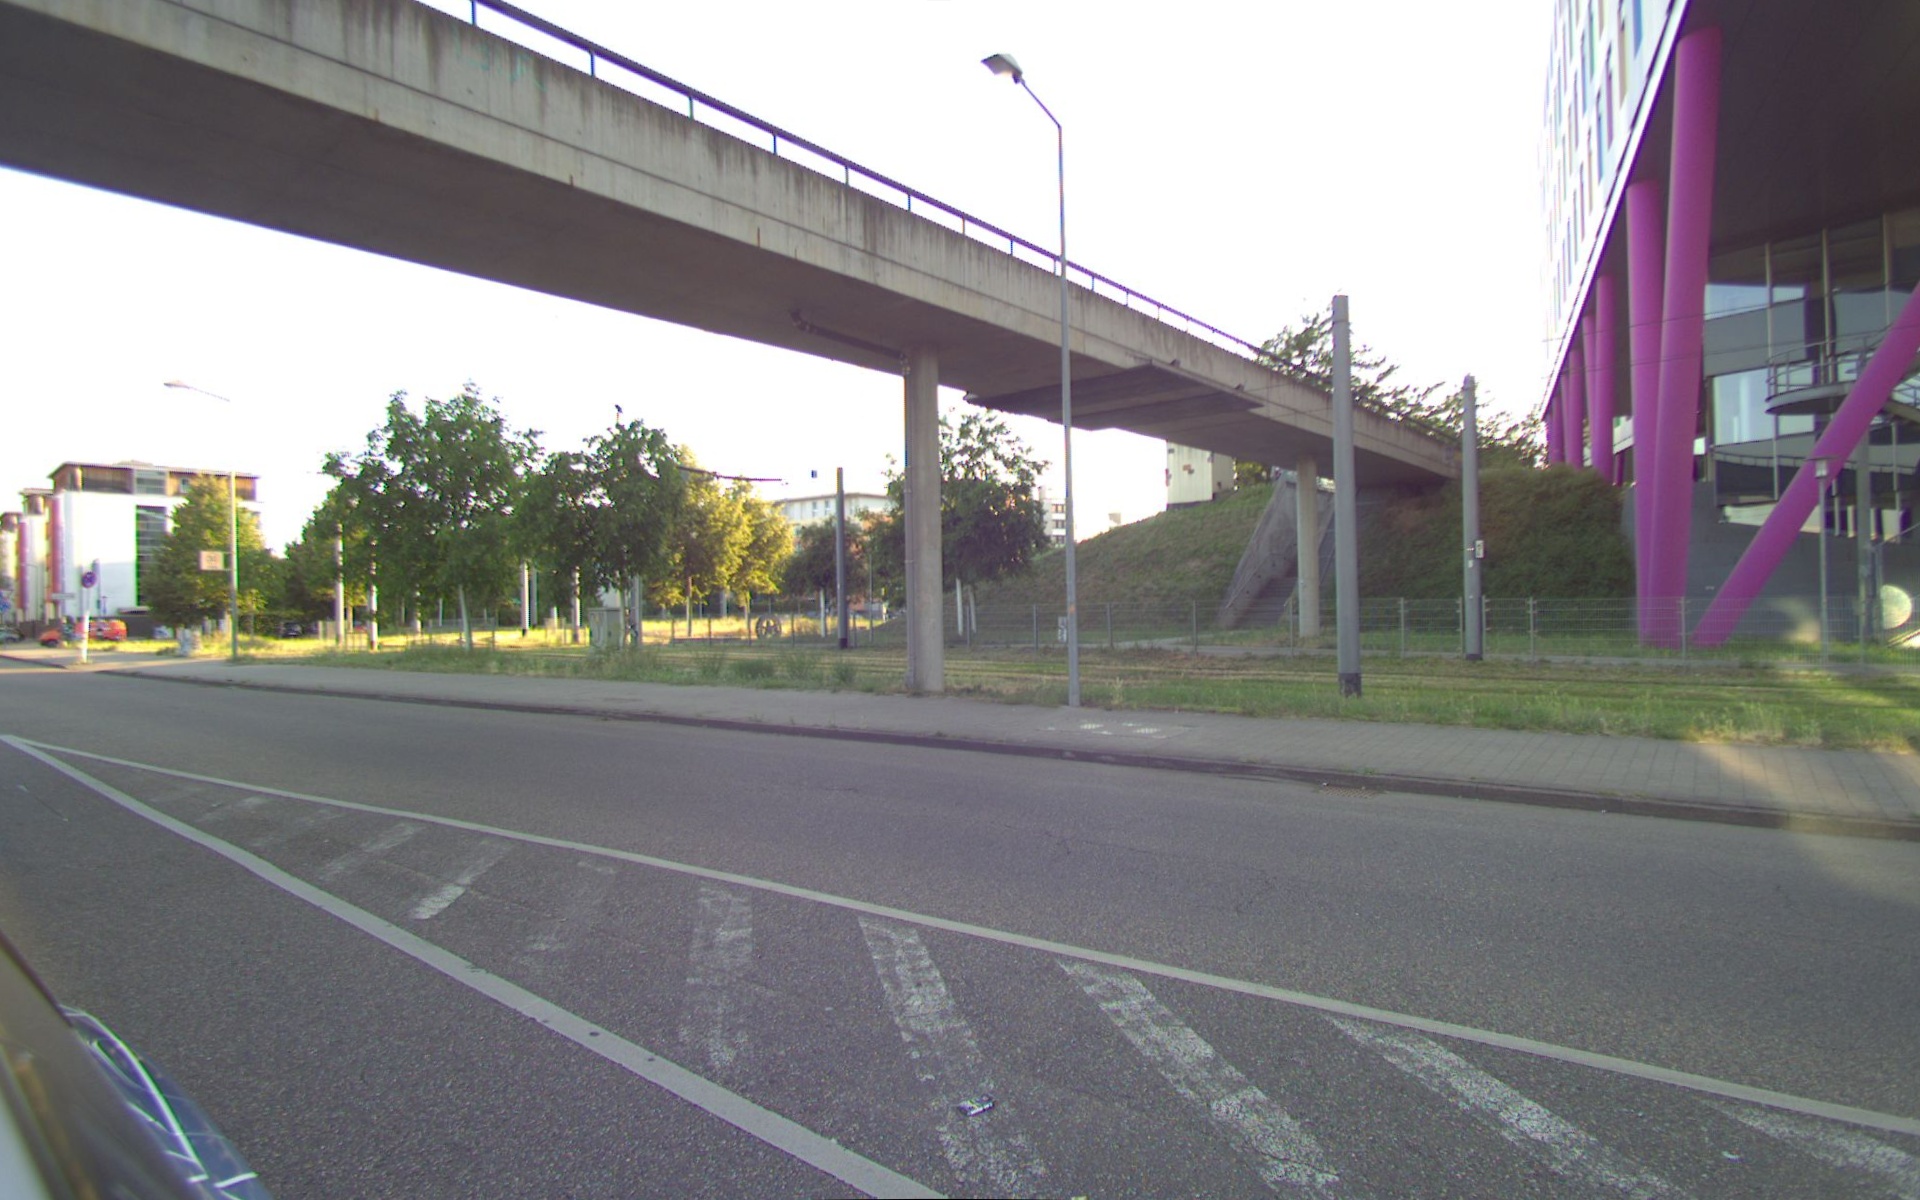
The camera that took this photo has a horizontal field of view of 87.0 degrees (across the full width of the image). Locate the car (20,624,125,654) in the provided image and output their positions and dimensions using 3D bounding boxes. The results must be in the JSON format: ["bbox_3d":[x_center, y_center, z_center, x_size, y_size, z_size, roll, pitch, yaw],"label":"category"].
[{"bbox_3d":[-64.680,2.815,73.867,5.430,2.029,2.006,-1,-1,-25],"label":"car"}]

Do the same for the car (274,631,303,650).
[{"bbox_3d":[-56.927,3.408,85.809,1.913,1.541,4.009,-1,-1,-36],"label":"car"}]

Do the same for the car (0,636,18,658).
[{"bbox_3d":[-80.439,3.944,83.435,2.000,1.741,3.944,-2,-1,42],"label":"car"}]

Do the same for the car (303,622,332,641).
[{"bbox_3d":[-55.322,2.725,87.131,1.913,1.541,4.009,-1,-1,-36],"label":"car"}]
